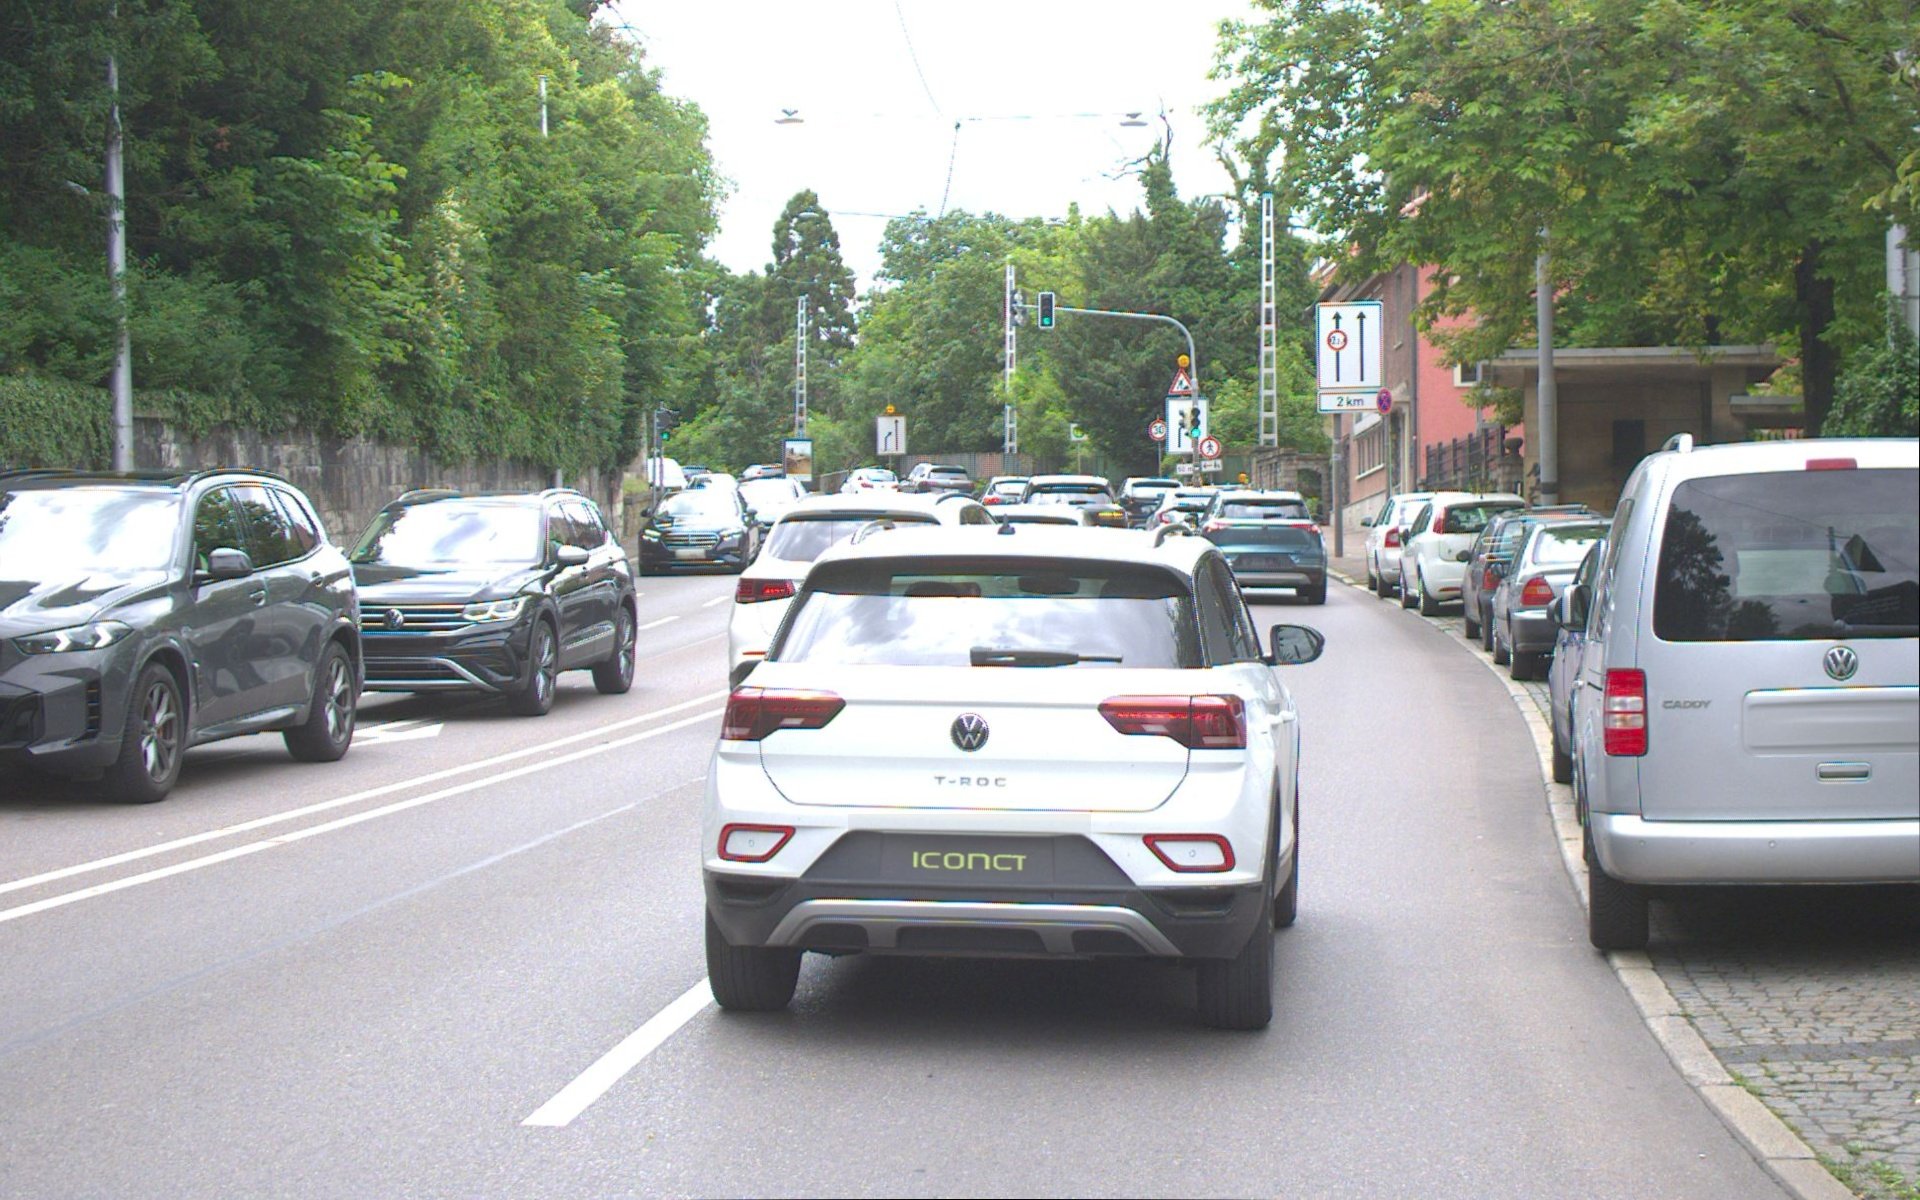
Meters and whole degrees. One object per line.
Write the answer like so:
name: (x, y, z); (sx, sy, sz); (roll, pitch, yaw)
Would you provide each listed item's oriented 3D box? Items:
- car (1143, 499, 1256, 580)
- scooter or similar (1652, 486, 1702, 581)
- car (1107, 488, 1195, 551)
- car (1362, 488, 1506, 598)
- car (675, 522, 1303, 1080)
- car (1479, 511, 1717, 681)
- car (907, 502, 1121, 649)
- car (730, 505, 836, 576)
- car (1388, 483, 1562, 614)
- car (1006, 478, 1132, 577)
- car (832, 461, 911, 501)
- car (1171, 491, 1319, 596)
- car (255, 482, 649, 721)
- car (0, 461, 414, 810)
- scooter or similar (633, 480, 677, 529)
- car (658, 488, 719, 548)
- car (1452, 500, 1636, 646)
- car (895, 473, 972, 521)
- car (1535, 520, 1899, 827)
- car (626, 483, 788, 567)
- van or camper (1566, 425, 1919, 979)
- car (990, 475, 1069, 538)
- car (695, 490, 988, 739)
car: (4.437, -1.146, 64.204); (1.994, 1.445, 4.150); (0, 1, 3)
scooter or similar: (9.842, -0.917, 47.207); (0.517, 1.256, 1.168); (-2, 2, 7)
car: (4.517, -1.918, 81.713); (1.993, 1.445, 4.150); (0, 1, 2)
car: (6.800, -0.864, 49.648); (1.675, 1.456, 4.366); (-2, 2, 3)
car: (0.263, 0.533, 11.835); (1.758, 1.550, 3.795); (2, 1, 6)
car: (5.723, -0.085, 31.278); (1.770, 1.394, 4.550); (-1, 1, 6)
car: (0.646, -0.297, 37.085); (1.994, 1.484, 4.150); (0, 1, 5)
car: (-3.808, -1.307, 74.590); (1.842, 1.431, 4.000); (-1, 2, 4)
car: (6.584, -0.701, 44.317); (1.715, 1.466, 4.038); (-3, 2, 2)
car: (1.856, -1.258, 57.968); (1.994, 1.551, 4.151); (2, 2, 2)
car: (-3.302, -4.411, 127.742); (1.993, 1.445, 4.152); (0, 1, -15)
car: (3.990, -0.814, 48.564); (1.994, 1.409, 4.150); (0, 1, 4)
car: (-3.796, -0.047, 26.560); (1.848, 1.646, 4.623); (-1, 1, 7)
car: (-4.793, 0.126, 19.739); (1.960, 1.743, 4.877); (-1, 1, 7)
scooter or similar: (-8.193, -2.565, 92.351); (0.434, 1.233, 1.095); (6, 2, 42)
car: (-9.941, -2.976, 125.743); (1.892, 1.842, 4.397); (-3, -2, -8)
car: (6.197, -0.325, 36.749); (1.561, 1.417, 3.424); (-3, 2, 4)
car: (-0.913, -3.471, 115.859); (1.993, 1.569, 4.152); (0, 1, -9)
car: (4.013, 0.318, 18.714); (1.598, 1.455, 3.941); (-1, 1, 8)
car: (-4.413, -1.341, 60.623); (2.003, 1.404, 4.754); (-1, 2, 6)
van or camper: (3.282, 0.294, 13.542); (1.699, 1.839, 4.241); (0, 1, 9)
car: (1.634, -2.240, 82.063); (1.780, 1.449, 4.000); (1, 2, 0)
car: (-0.777, 0.049, 24.727); (1.758, 1.604, 3.795); (2, 1, 3)
